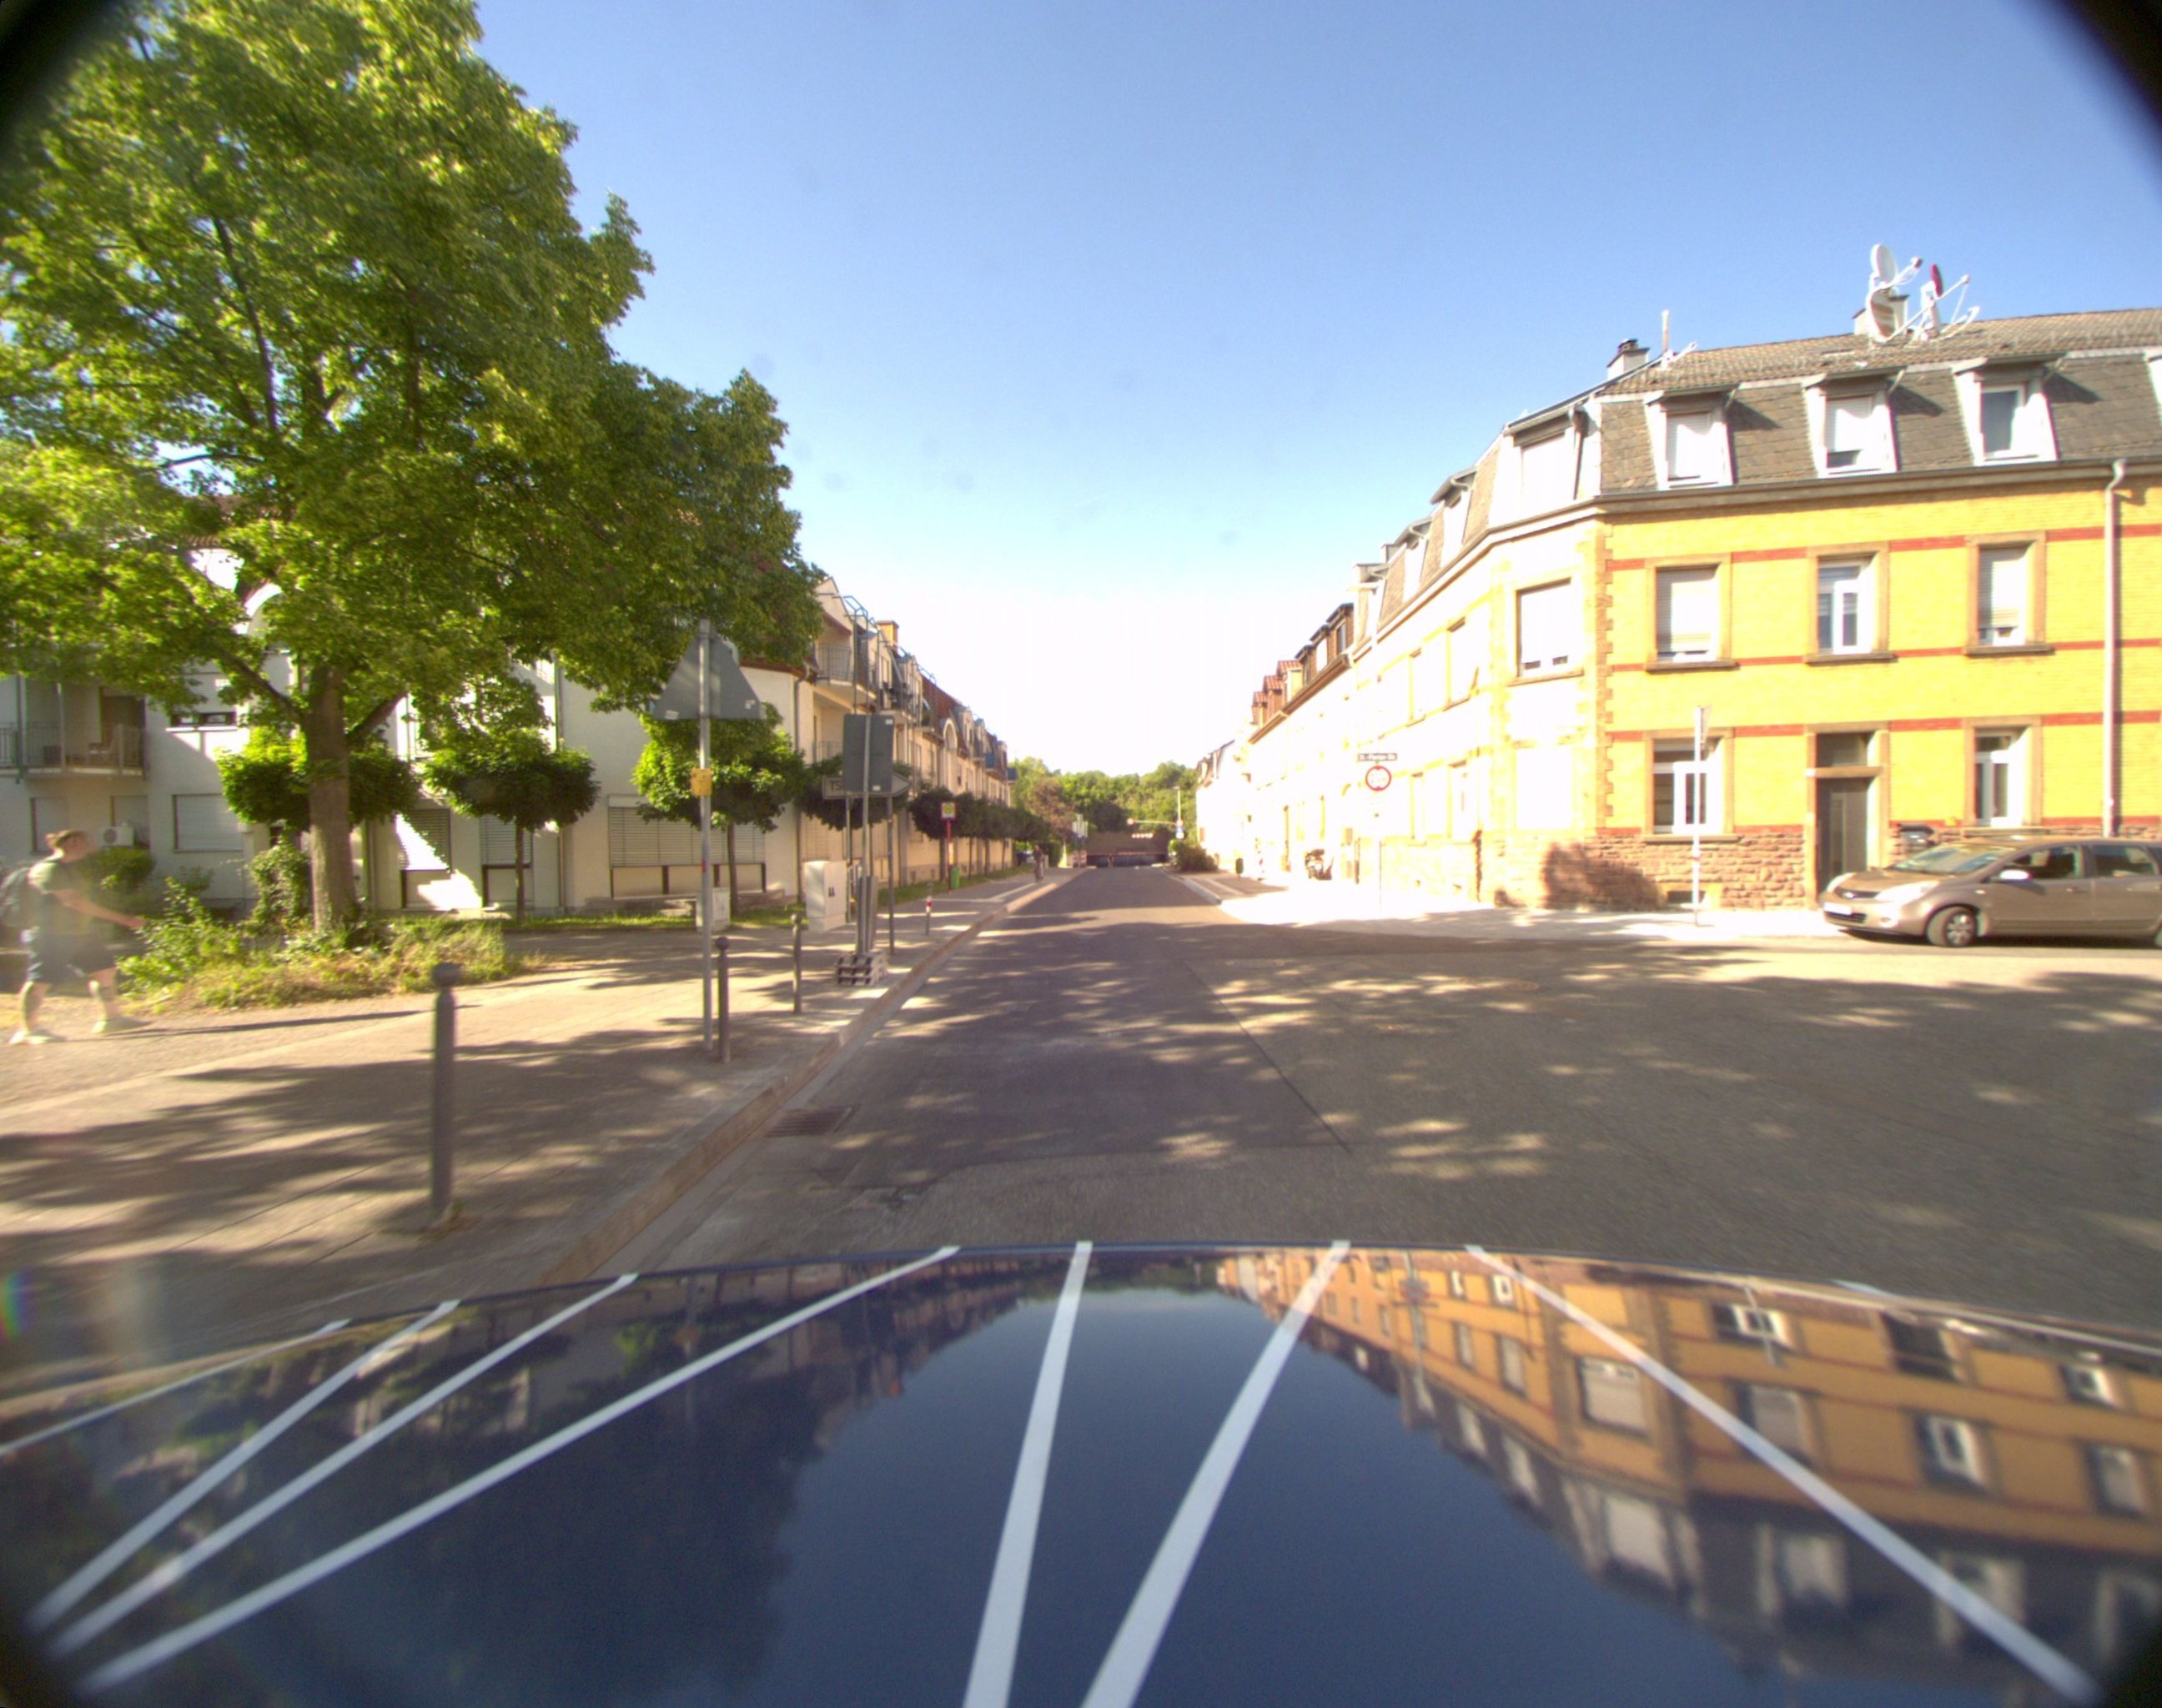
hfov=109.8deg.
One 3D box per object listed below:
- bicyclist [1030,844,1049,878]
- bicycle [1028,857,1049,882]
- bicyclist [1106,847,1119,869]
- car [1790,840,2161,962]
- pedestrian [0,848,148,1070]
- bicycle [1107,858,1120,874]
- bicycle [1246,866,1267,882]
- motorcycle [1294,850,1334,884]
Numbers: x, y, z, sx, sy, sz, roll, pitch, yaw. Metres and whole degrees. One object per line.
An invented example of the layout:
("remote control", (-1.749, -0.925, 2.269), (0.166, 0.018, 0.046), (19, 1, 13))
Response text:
("bicyclist", (-1.934, 0.307, 35.220), (0.668, 1.530, 0.914), (2, 2, 6))
("bicycle", (-1.959, 0.719, 35.187), (0.668, 1.058, 1.817), (2, 2, 6))
("bicyclist", (3.504, 0.461, 83.810), (1.256, 2.295, 1.242), (-4, 1, 2))
("car", (13.345, 0.614, 11.105), (4.009, 1.536, 1.716), (0, 4, 12))
("pedestrian", (-8.466, 0.821, 6.296), (0.658, 1.707, 0.829), (0, 2, 43))
("bicycle", (3.553, 1.273, 83.740), (1.256, 1.543, 4.000), (-4, 1, 2))
("bicycle", (7.585, 0.859, 32.857), (0.382, 0.606, 1.344), (-3, 1, 34))
("motorcycle", (9.262, 0.491, 30.318), (0.848, 1.245, 2.257), (-4, 1, 0))
